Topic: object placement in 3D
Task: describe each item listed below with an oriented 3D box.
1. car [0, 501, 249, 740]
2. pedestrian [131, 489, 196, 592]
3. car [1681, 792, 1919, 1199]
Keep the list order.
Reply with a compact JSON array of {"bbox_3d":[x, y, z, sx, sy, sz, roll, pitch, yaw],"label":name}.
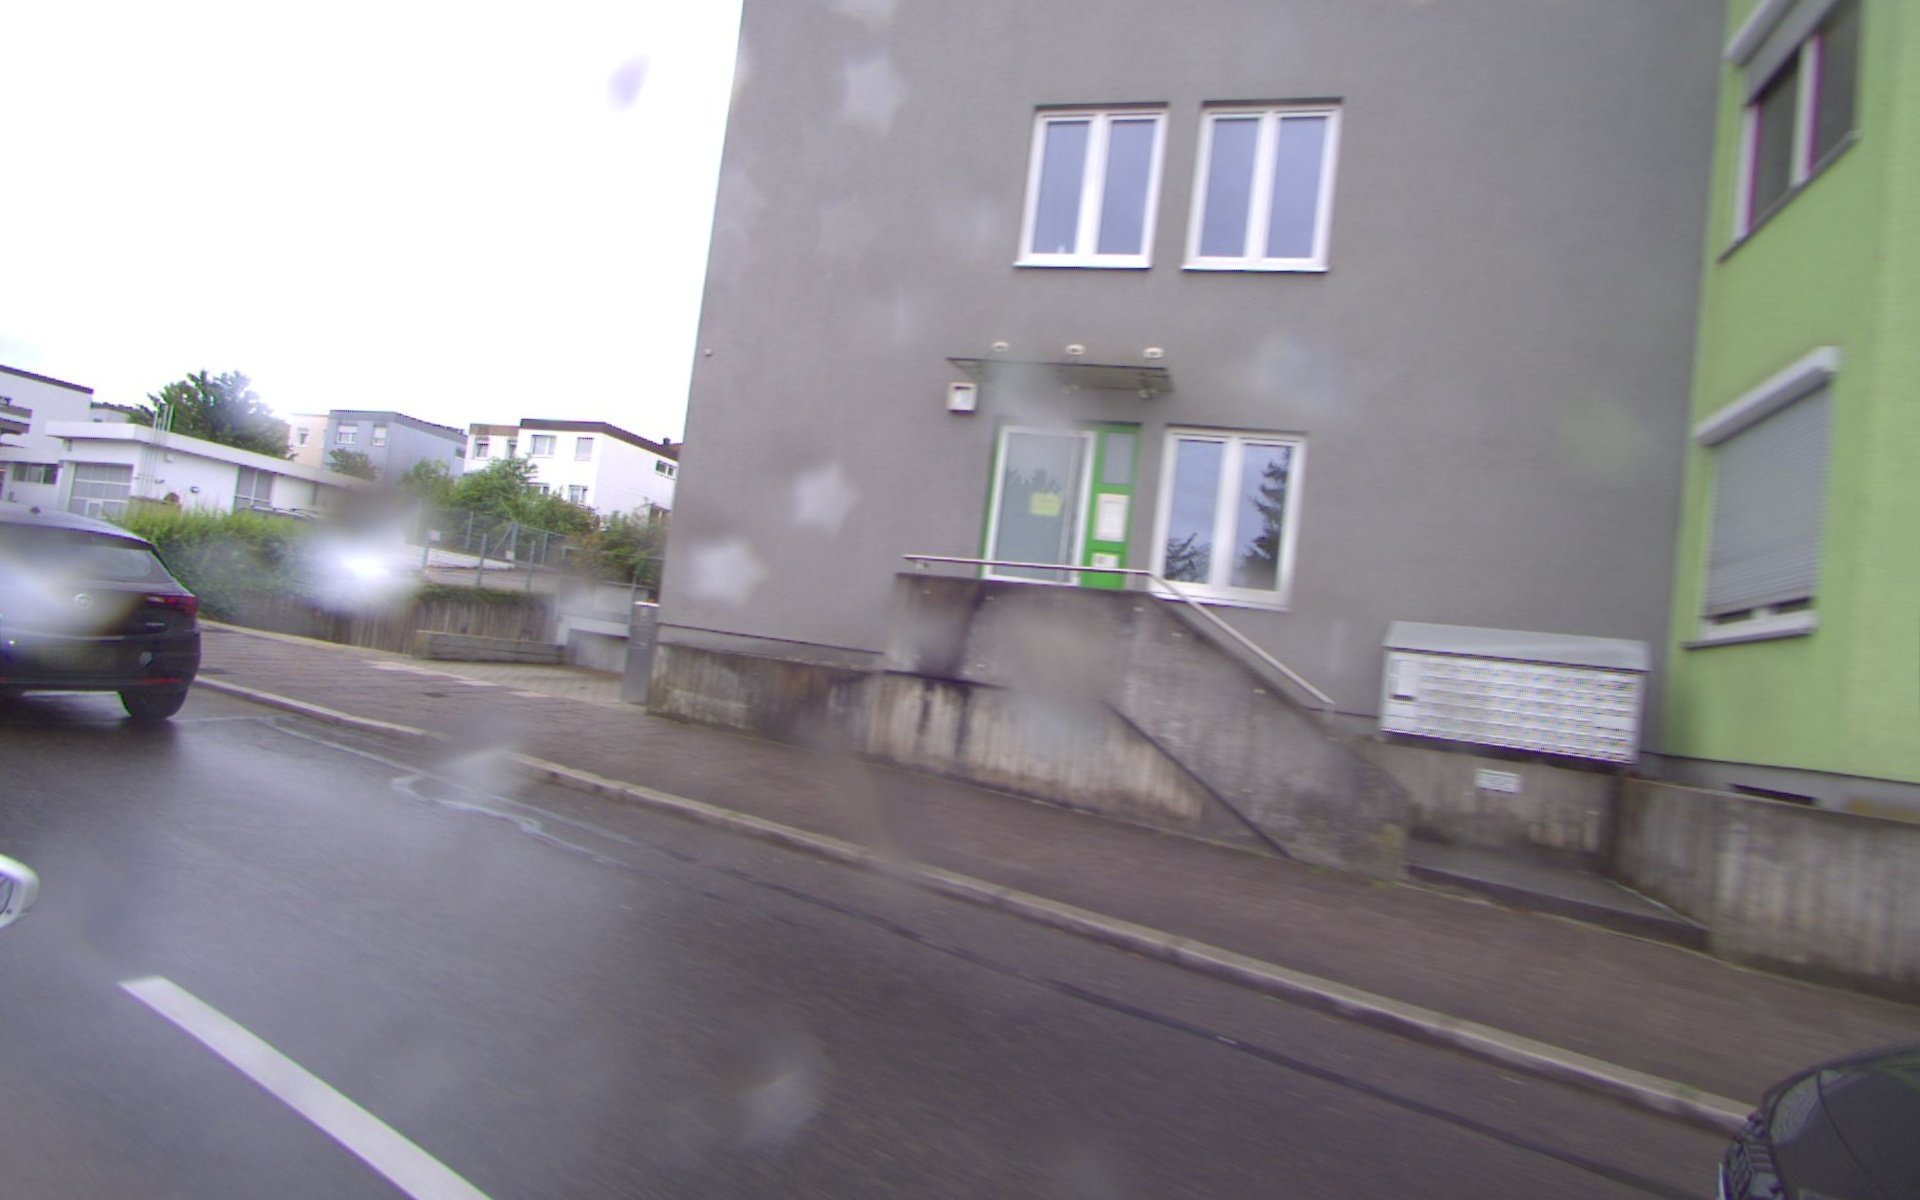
[{"bbox_3d":[-7.447,-0.027,7.457,3.929,1.465,1.762,7,-2,26],"label":"car"},{"bbox_3d":[-16.570,-1.231,20.940,0.605,2.036,0.716,5,-3,33],"label":"pedestrian"},{"bbox_3d":[3.411,1.276,0.656,4.665,1.440,1.869,4,-4,34],"label":"car"}]
